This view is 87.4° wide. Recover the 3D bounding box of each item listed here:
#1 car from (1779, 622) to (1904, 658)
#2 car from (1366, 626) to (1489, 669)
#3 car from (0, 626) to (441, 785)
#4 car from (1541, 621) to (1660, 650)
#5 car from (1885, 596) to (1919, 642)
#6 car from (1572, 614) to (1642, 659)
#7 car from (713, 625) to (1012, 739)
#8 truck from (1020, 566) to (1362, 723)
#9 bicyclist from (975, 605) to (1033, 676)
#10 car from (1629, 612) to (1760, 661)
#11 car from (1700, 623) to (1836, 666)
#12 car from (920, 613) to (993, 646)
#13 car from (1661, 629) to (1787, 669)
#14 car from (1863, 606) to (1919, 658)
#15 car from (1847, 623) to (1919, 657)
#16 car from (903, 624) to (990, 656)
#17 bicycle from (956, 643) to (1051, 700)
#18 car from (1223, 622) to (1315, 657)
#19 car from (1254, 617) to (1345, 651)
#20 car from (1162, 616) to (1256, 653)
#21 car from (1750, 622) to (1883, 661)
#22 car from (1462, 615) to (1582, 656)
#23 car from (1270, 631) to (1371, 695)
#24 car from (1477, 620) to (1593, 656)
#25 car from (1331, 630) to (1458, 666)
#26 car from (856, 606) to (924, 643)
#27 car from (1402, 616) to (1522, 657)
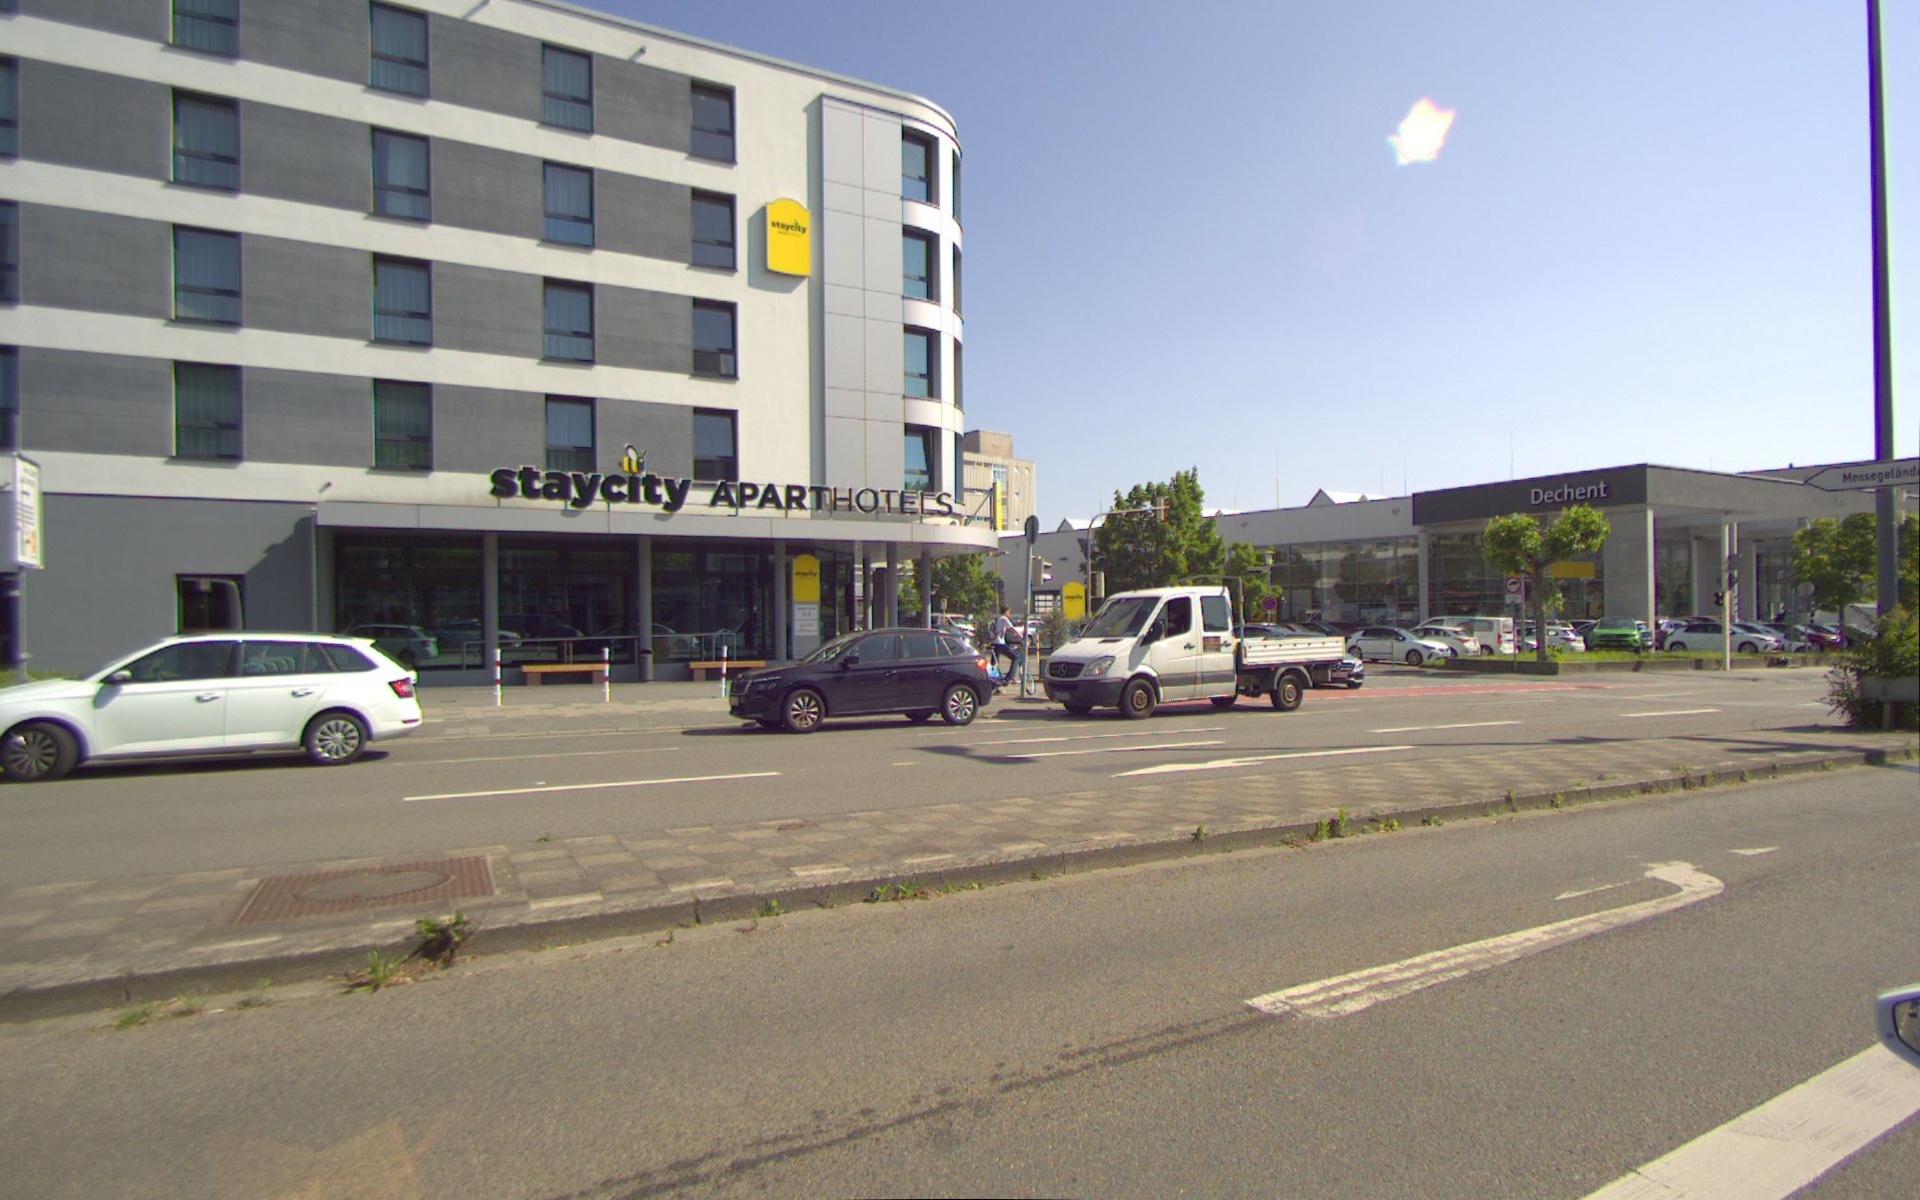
[{"bbox_3d":[43.983,1.976,50.230,1.978,1.719,4.333,1,-2,-32],"label":"car"},{"bbox_3d":[19.753,1.950,42.610,1.980,1.719,4.329,1,-2,-35],"label":"car"},{"bbox_3d":[-8.382,1.097,11.201,4.370,1.505,1.981,2,-4,-36],"label":"car"},{"bbox_3d":[30.207,1.698,47.468,1.982,1.284,4.325,3,-4,-37],"label":"car"},{"bbox_3d":[55.604,1.082,56.875,1.972,2.635,4.345,1,-1,-24],"label":"car"},{"bbox_3d":[26.313,1.497,40.932,1.870,1.756,3.293,0,-3,23],"label":"car"},{"bbox_3d":[-1.529,1.217,16.054,4.360,1.598,1.985,1,-3,-30],"label":"car"},{"bbox_3d":[4.464,0.791,19.055,6.355,2.579,2.348,1,-1,-28],"label":"truck"},{"bbox_3d":[0.955,0.858,21.660,1.019,1.479,0.761,1,-2,-41],"label":"bicyclist"},{"bbox_3d":[29.670,1.454,40.697,1.978,1.862,3.849,1,-1,-32],"label":"car"},{"bbox_3d":[35.406,1.901,44.121,1.978,1.789,4.274,1,-2,-32],"label":"car"},{"bbox_3d":[-0.242,1.736,60.510,1.970,1.815,4.377,2,0,-41],"label":"car"},{"bbox_3d":[32.920,2.060,43.392,1.981,1.620,3.959,1,-1,-36],"label":"car"},{"bbox_3d":[51.447,1.690,53.526,2.096,2.720,4.490,1,-1,-21],"label":"car"},{"bbox_3d":[49.349,2.059,52.319,1.970,1.719,4.350,1,-1,-21],"label":"car"},{"bbox_3d":[-0.699,1.927,48.883,3.944,1.349,1.989,1,0,43],"label":"car"},{"bbox_3d":[0.964,1.508,21.651,2.145,1.131,0.761,1,-2,-42],"label":"bicycle"},{"bbox_3d":[16.155,2.043,52.686,1.980,1.719,4.329,1,-2,-35],"label":"car"},{"bbox_3d":[18.174,1.794,53.934,1.982,1.719,4.325,1,-2,-37],"label":"car"},{"bbox_3d":[12.242,1.678,49.562,1.980,1.719,4.329,1,-2,-35],"label":"car"},{"bbox_3d":[39.778,1.895,46.765,1.978,1.719,4.334,1,-1,-31],"label":"car"},{"bbox_3d":[25.122,1.560,45.018,1.982,1.719,4.324,1,-2,-38],"label":"car"},{"bbox_3d":[9.704,1.656,27.337,1.866,1.378,4.002,2,1,10],"label":"car"},{"bbox_3d":[26.892,1.749,47.092,1.982,1.612,4.325,1,-2,-37],"label":"car"},{"bbox_3d":[17.397,1.879,40.363,1.980,1.317,4.329,1,-2,-35],"label":"car"},{"bbox_3d":[-4.524,1.562,64.726,1.985,2.158,4.566,2,0,-42],"label":"car"},{"bbox_3d":[22.194,1.606,44.536,1.982,1.719,4.324,1,-2,-38],"label":"car"}]
